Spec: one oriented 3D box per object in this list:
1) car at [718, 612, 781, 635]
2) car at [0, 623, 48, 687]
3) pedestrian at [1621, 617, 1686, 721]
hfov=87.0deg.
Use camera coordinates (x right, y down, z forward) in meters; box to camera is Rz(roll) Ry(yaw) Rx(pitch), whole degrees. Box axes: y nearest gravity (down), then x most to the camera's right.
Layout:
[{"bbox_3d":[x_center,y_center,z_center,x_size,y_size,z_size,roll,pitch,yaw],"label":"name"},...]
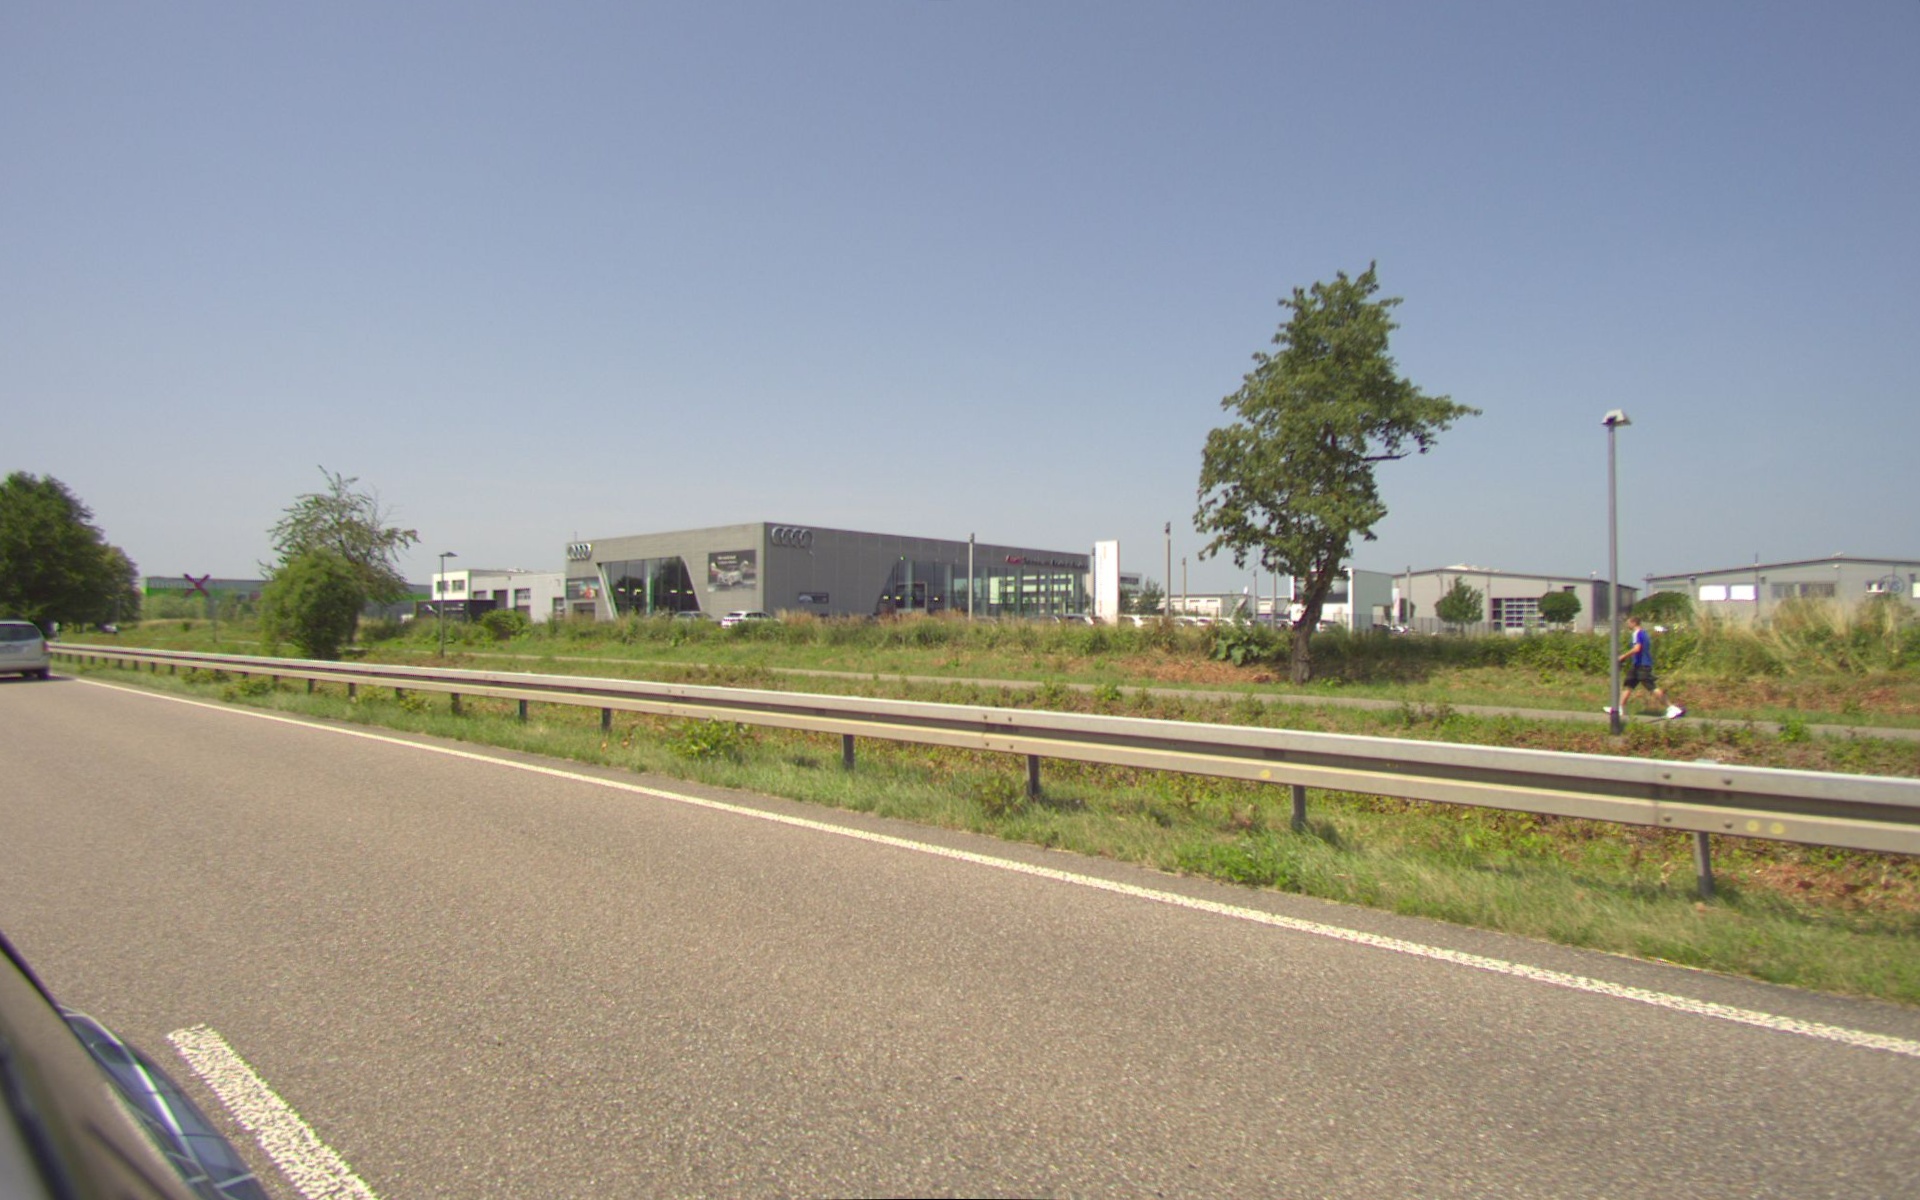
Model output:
[{"bbox_3d":[-13.964,1.594,67.469,1.620,1.448,4.190,-1,-3,34],"label":"car"},{"bbox_3d":[-24.518,1.353,25.541,4.684,1.486,1.681,-1,0,41],"label":"car"},{"bbox_3d":[12.138,1.187,17.721,0.572,1.763,0.821,3,-3,-44],"label":"pedestrian"}]
